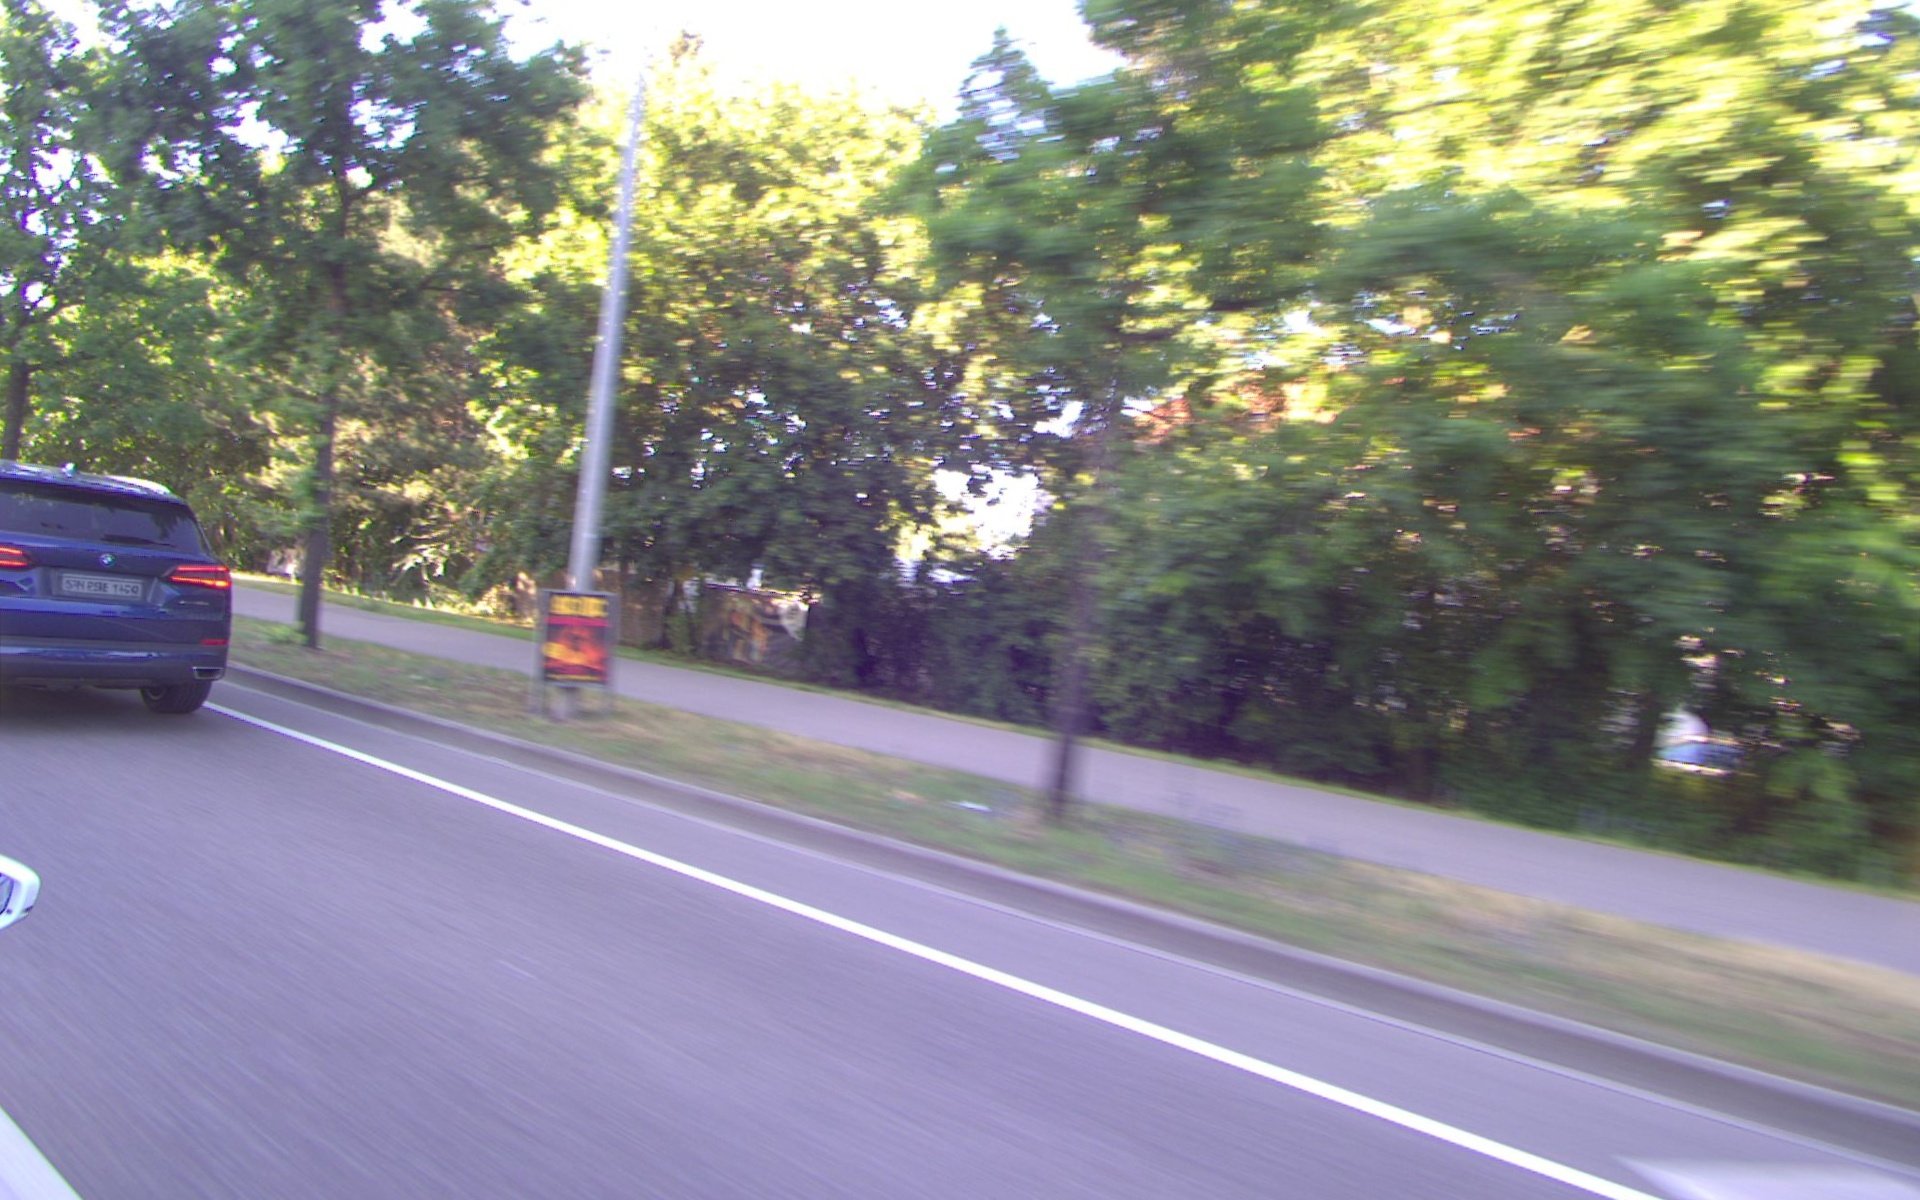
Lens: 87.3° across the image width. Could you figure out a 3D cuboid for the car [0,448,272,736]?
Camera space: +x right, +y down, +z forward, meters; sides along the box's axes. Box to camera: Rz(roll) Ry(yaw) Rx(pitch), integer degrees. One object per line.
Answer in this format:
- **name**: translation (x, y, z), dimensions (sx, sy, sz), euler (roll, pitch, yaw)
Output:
- **car**: translation (-7.549, -0.190, 7.763), dimensions (4.623, 1.747, 1.957), euler (6, -2, 33)
